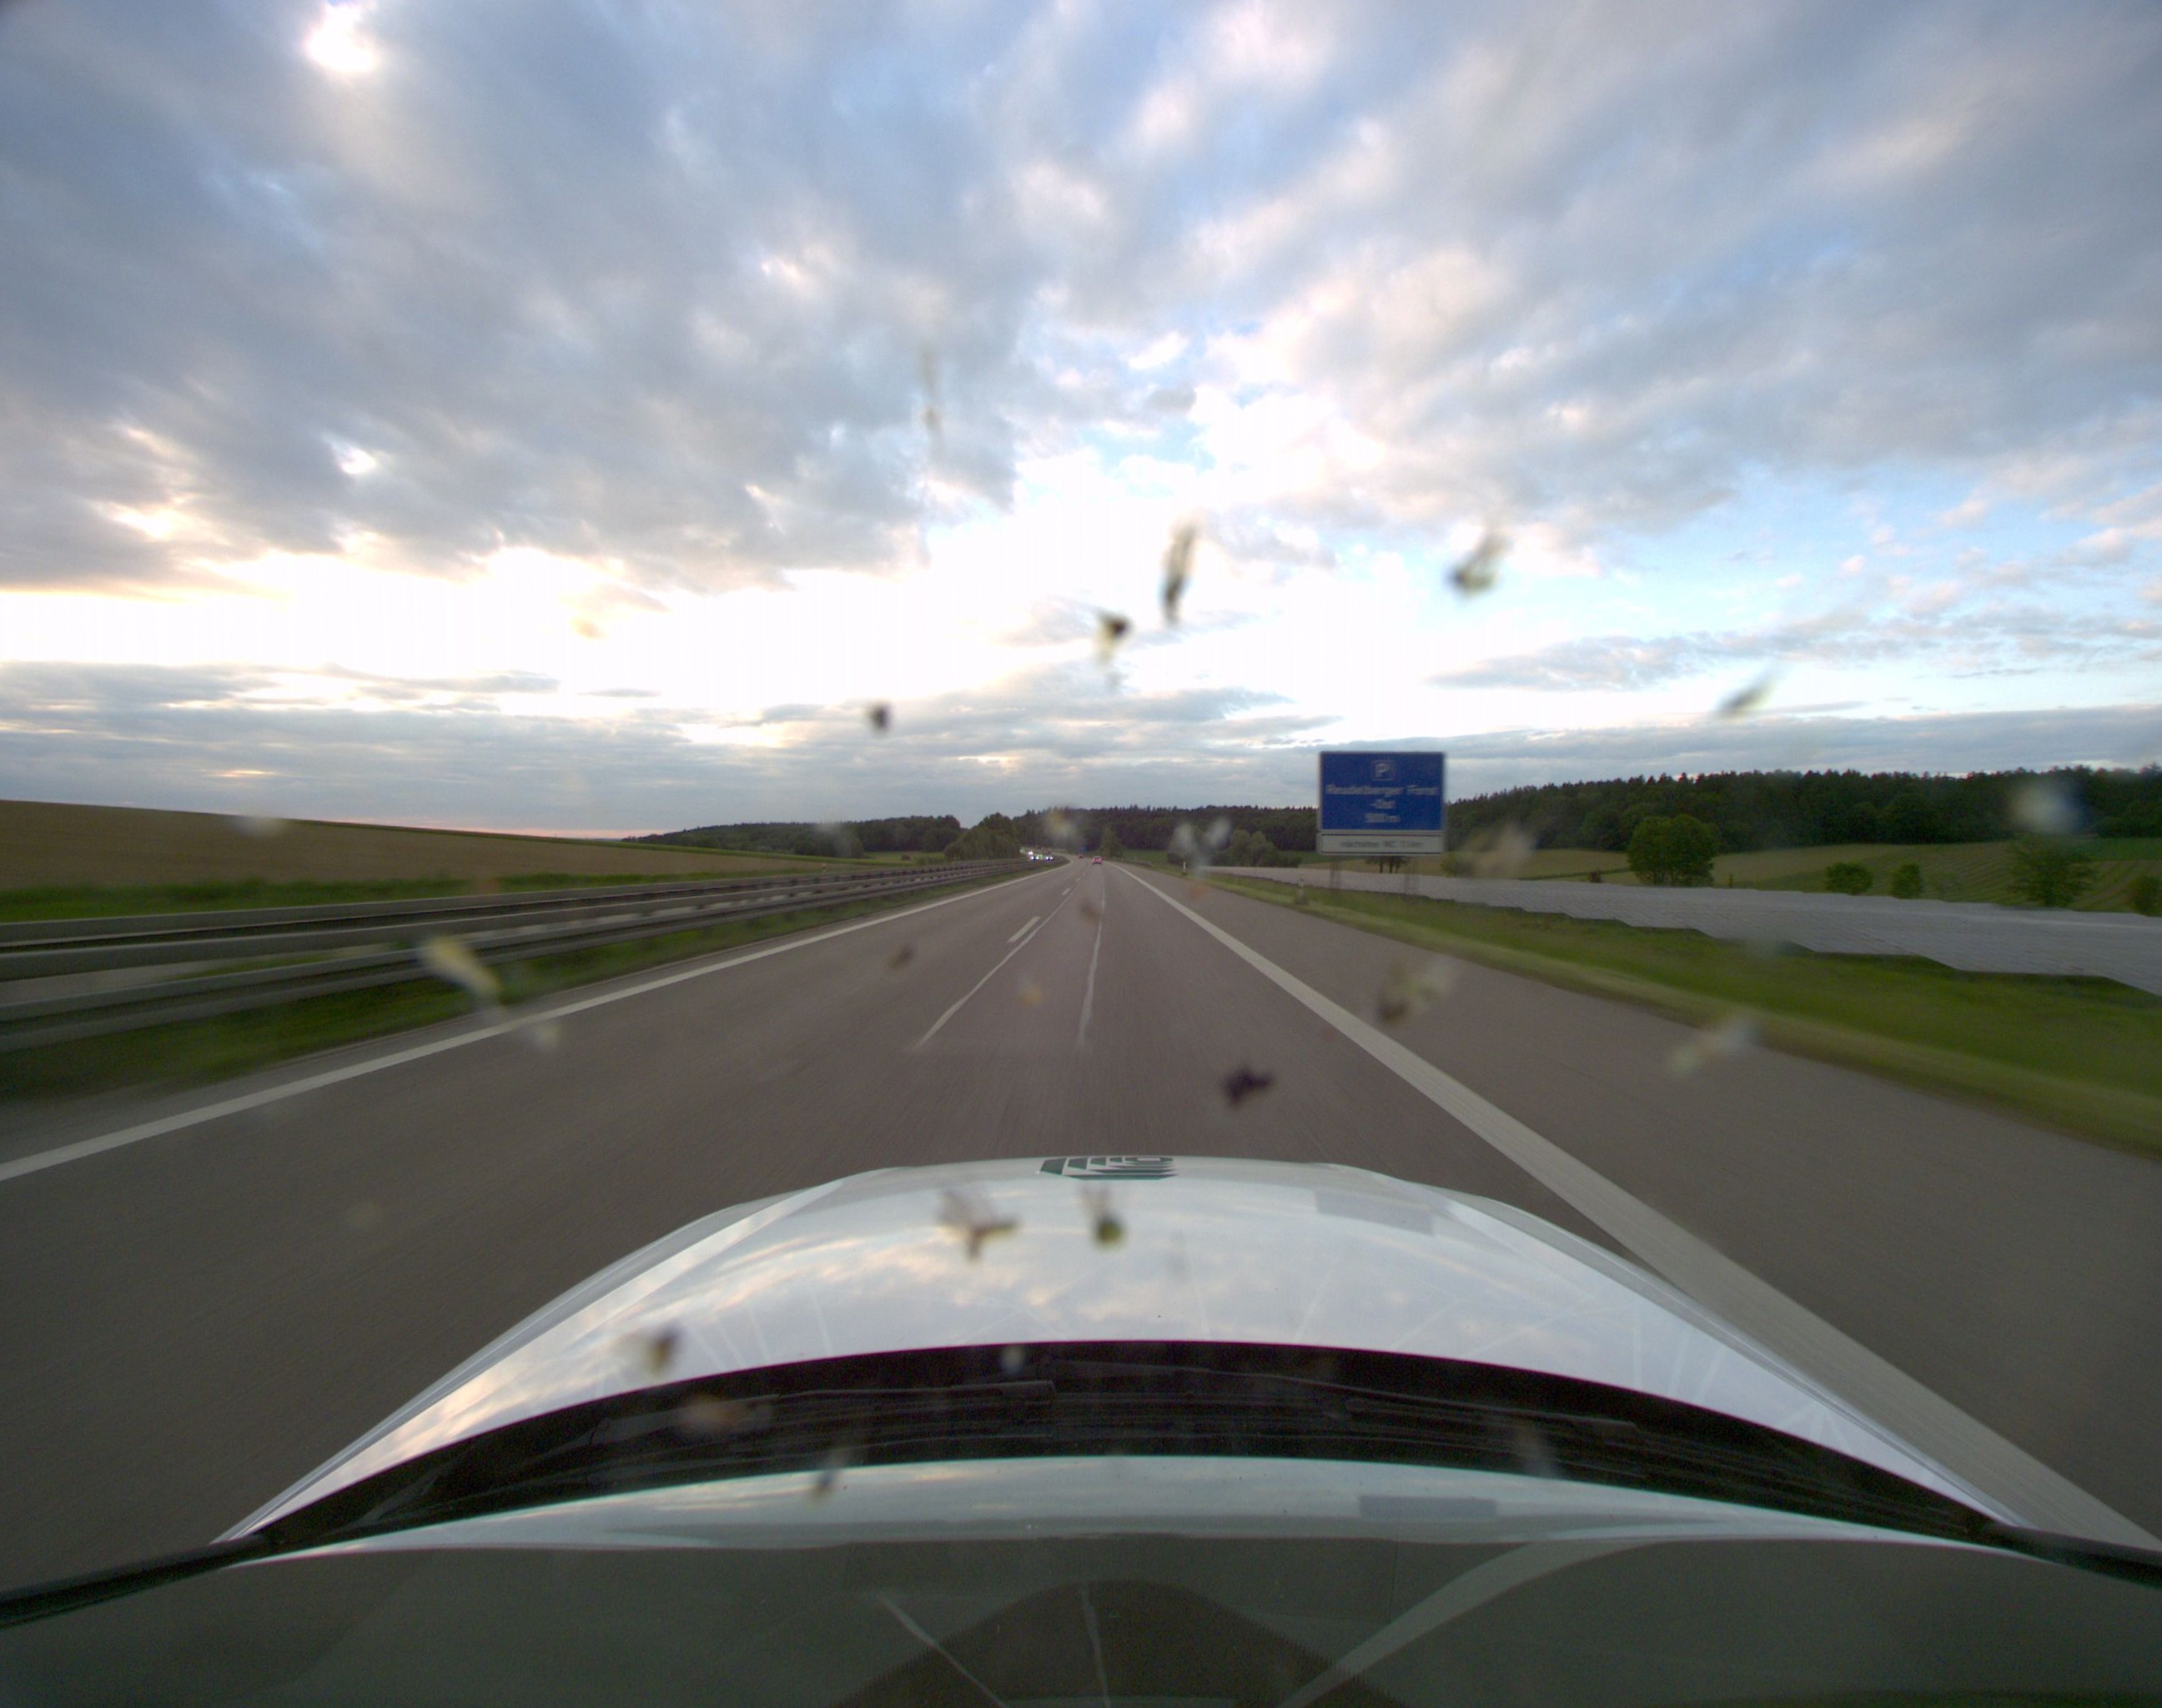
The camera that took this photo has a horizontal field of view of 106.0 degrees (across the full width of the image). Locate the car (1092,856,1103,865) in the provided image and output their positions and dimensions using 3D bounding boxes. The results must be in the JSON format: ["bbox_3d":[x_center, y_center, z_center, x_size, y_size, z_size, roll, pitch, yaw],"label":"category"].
[{"bbox_3d":[2.995,1.155,149.581,1.945,1.531,4.079,2,0,0],"label":"car"}]
